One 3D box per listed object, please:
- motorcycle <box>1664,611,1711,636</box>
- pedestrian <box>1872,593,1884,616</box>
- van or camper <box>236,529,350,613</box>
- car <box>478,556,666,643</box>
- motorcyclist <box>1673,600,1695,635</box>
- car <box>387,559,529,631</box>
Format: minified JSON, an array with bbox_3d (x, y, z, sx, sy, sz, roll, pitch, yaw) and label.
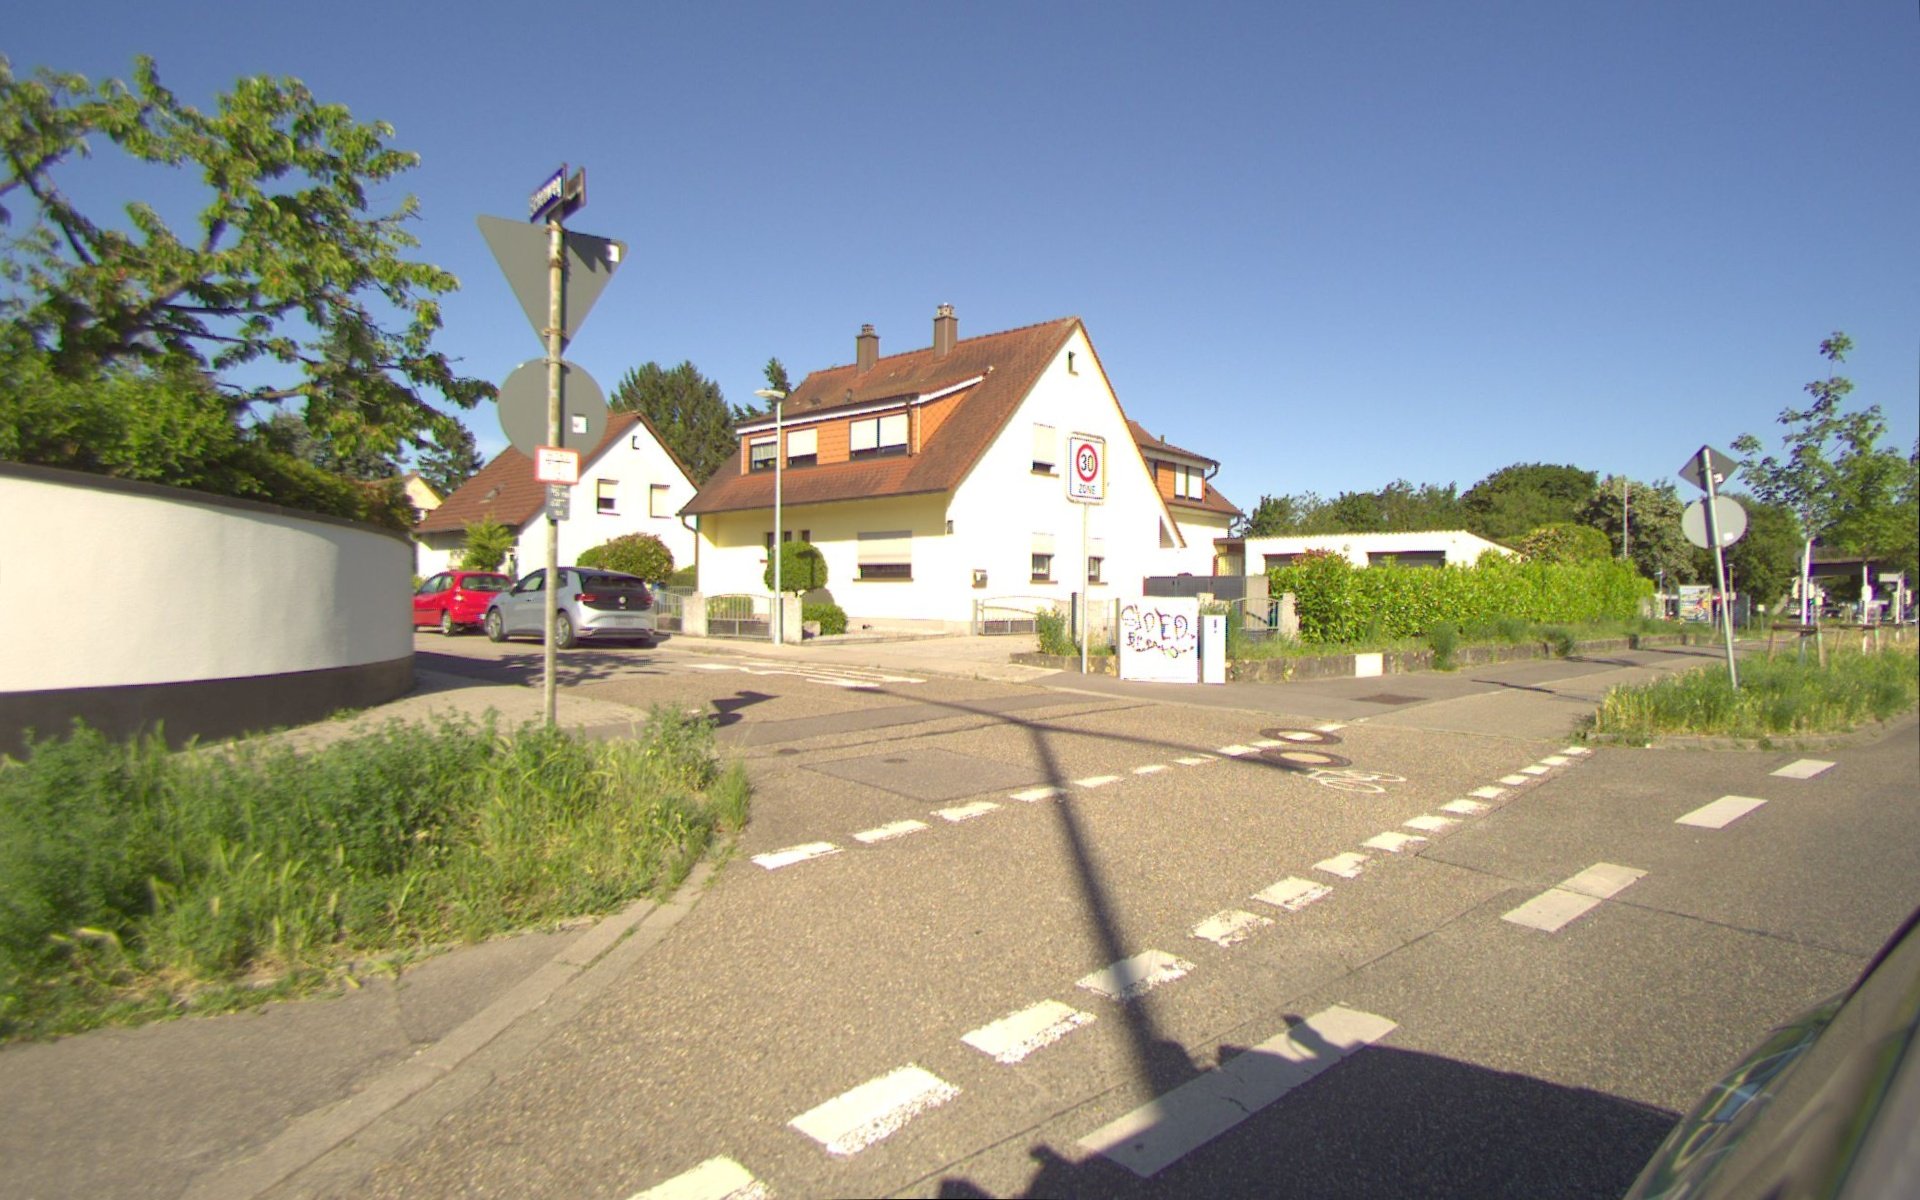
[{"bbox_3d":[33.988,1.077,47.294,0.443,1.084,1.759,0,1,-41],"label":"motorcycle"},{"bbox_3d":[67.974,0.333,74.947,0.587,1.683,0.706,1,0,39],"label":"pedestrian"},{"bbox_3d":[-21.816,-0.932,33.022,4.891,2.546,1.970,1,1,42],"label":"van or camper"},{"bbox_3d":[-7.716,-0.029,19.973,3.983,1.549,1.808,1,0,41],"label":"car"},{"bbox_3d":[33.891,0.804,47.384,0.688,1.577,0.694,0,0,-42],"label":"motorcyclist"},{"bbox_3d":[-11.872,-0.131,23.827,3.986,1.549,1.694,1,0,43],"label":"car"}]
